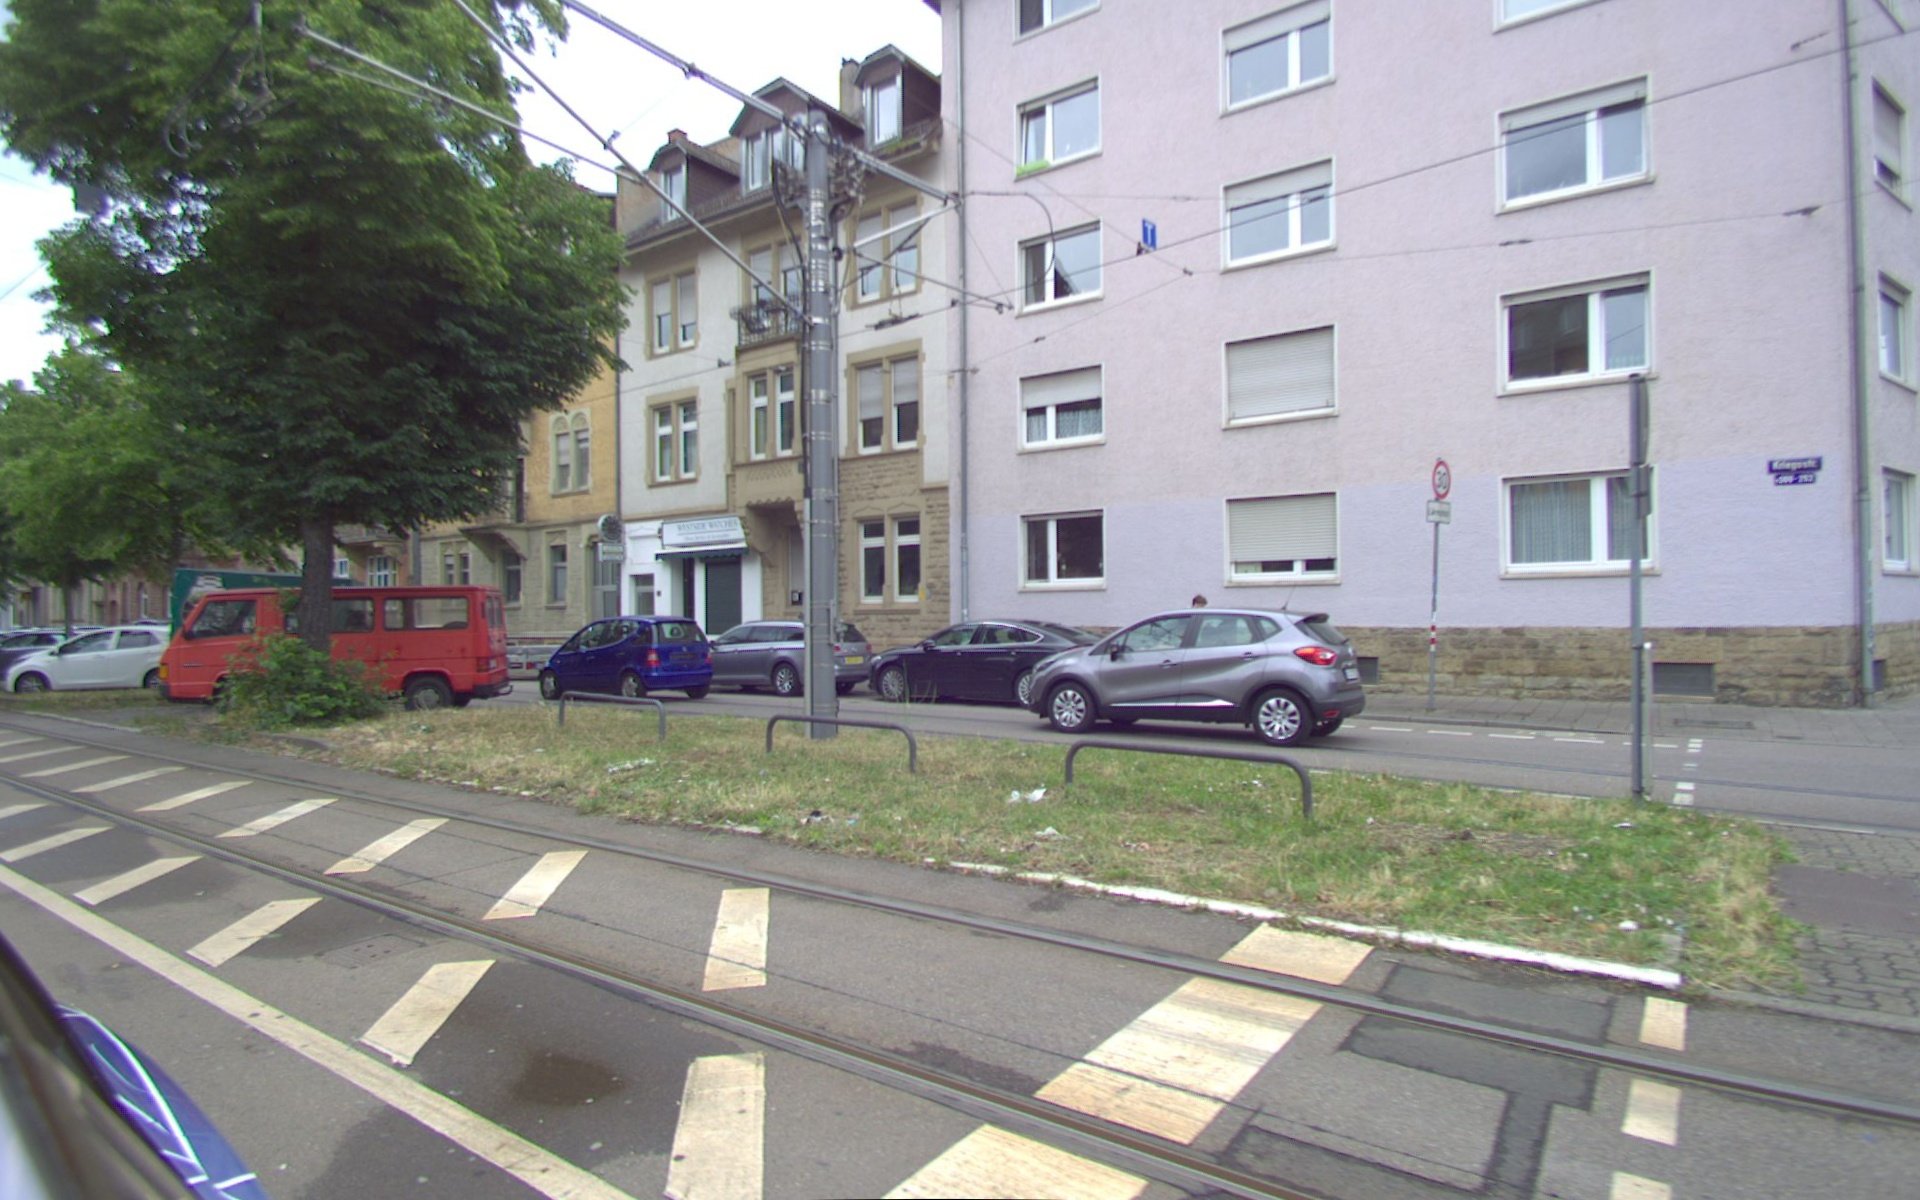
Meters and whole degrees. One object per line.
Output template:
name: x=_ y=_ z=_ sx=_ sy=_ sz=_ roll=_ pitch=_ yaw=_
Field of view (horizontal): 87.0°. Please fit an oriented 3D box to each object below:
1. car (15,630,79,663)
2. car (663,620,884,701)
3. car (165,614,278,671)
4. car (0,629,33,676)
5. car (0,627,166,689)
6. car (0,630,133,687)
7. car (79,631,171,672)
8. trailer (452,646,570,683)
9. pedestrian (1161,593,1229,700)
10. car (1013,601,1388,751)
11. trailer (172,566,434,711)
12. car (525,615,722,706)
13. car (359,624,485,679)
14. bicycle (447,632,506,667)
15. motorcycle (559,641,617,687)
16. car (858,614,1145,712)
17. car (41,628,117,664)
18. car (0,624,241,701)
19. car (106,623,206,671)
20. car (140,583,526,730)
car: x=-46.210 y=2.332 z=51.212 sx=3.714 sy=1.571 sz=1.647 roll=-1 pitch=-1 yaw=35
car: x=-3.827 y=1.171 z=20.392 sx=4.558 sy=1.454 sz=1.621 roll=-2 pitch=-1 yaw=34
car: x=-27.526 y=1.554 z=37.665 sx=5.082 sy=1.967 sz=1.865 roll=-1 pitch=-1 yaw=35
car: x=-32.592 y=1.726 z=32.304 sx=4.049 sy=1.495 sz=1.802 roll=-1 pitch=-1 yaw=-14
car: x=-23.448 y=1.485 z=26.097 sx=4.268 sy=1.446 sz=1.903 roll=-1 pitch=-1 yaw=-12
car: x=-26.035 y=1.617 z=27.923 sx=4.609 sy=1.446 sz=1.904 roll=-1 pitch=-1 yaw=-15
car: x=-30.555 y=1.850 z=37.001 sx=3.874 sy=1.393 sz=1.630 roll=-1 pitch=-1 yaw=35
trailer: x=-11.790 y=1.655 z=26.547 sx=3.069 sy=0.899 sz=1.442 roll=-2 pitch=-3 yaw=34
pedestrian: x=4.064 y=0.788 z=17.498 sx=0.898 sy=1.780 sz=0.791 roll=-2 pitch=-1 yaw=35
car: x=2.821 y=0.815 z=12.274 sx=4.121 sy=1.546 sz=1.630 roll=-1 pitch=-1 yaw=34
trailer: x=-11.527 y=0.627 z=18.070 sx=3.607 sy=2.362 sz=1.937 roll=-1 pitch=-1 yaw=-22
car: x=-6.370 y=1.072 z=19.048 sx=3.619 sy=1.546 sz=1.631 roll=-1 pitch=-1 yaw=33
car: x=-15.722 y=1.471 z=29.536 sx=3.913 sy=1.454 sz=1.621 roll=-2 pitch=-1 yaw=34
bicycle: x=-15.829 y=1.618 z=33.091 sx=2.254 sy=1.081 sz=0.705 roll=-2 pitch=-1 yaw=34
motorcycle: x=-9.217 y=1.555 z=25.009 sx=0.699 sy=1.046 sz=2.235 roll=0 pitch=-1 yaw=-37
car: x=0.609 y=1.018 z=17.257 sx=4.750 sy=1.454 sz=1.621 roll=-2 pitch=-1 yaw=34
car: x=-42.238 y=2.160 z=48.494 sx=4.543 sy=1.639 sz=1.725 roll=-1 pitch=-1 yaw=35
car: x=-18.098 y=1.310 z=21.875 sx=3.799 sy=1.474 sz=1.694 roll=-1 pitch=-1 yaw=-12
car: x=-32.471 y=1.855 z=40.837 sx=5.105 sy=1.795 sz=1.798 roll=-1 pitch=-1 yaw=35
car: x=-9.348 y=0.787 z=15.562 sx=4.687 sy=1.989 sz=1.965 roll=-1 pitch=-1 yaw=-16
